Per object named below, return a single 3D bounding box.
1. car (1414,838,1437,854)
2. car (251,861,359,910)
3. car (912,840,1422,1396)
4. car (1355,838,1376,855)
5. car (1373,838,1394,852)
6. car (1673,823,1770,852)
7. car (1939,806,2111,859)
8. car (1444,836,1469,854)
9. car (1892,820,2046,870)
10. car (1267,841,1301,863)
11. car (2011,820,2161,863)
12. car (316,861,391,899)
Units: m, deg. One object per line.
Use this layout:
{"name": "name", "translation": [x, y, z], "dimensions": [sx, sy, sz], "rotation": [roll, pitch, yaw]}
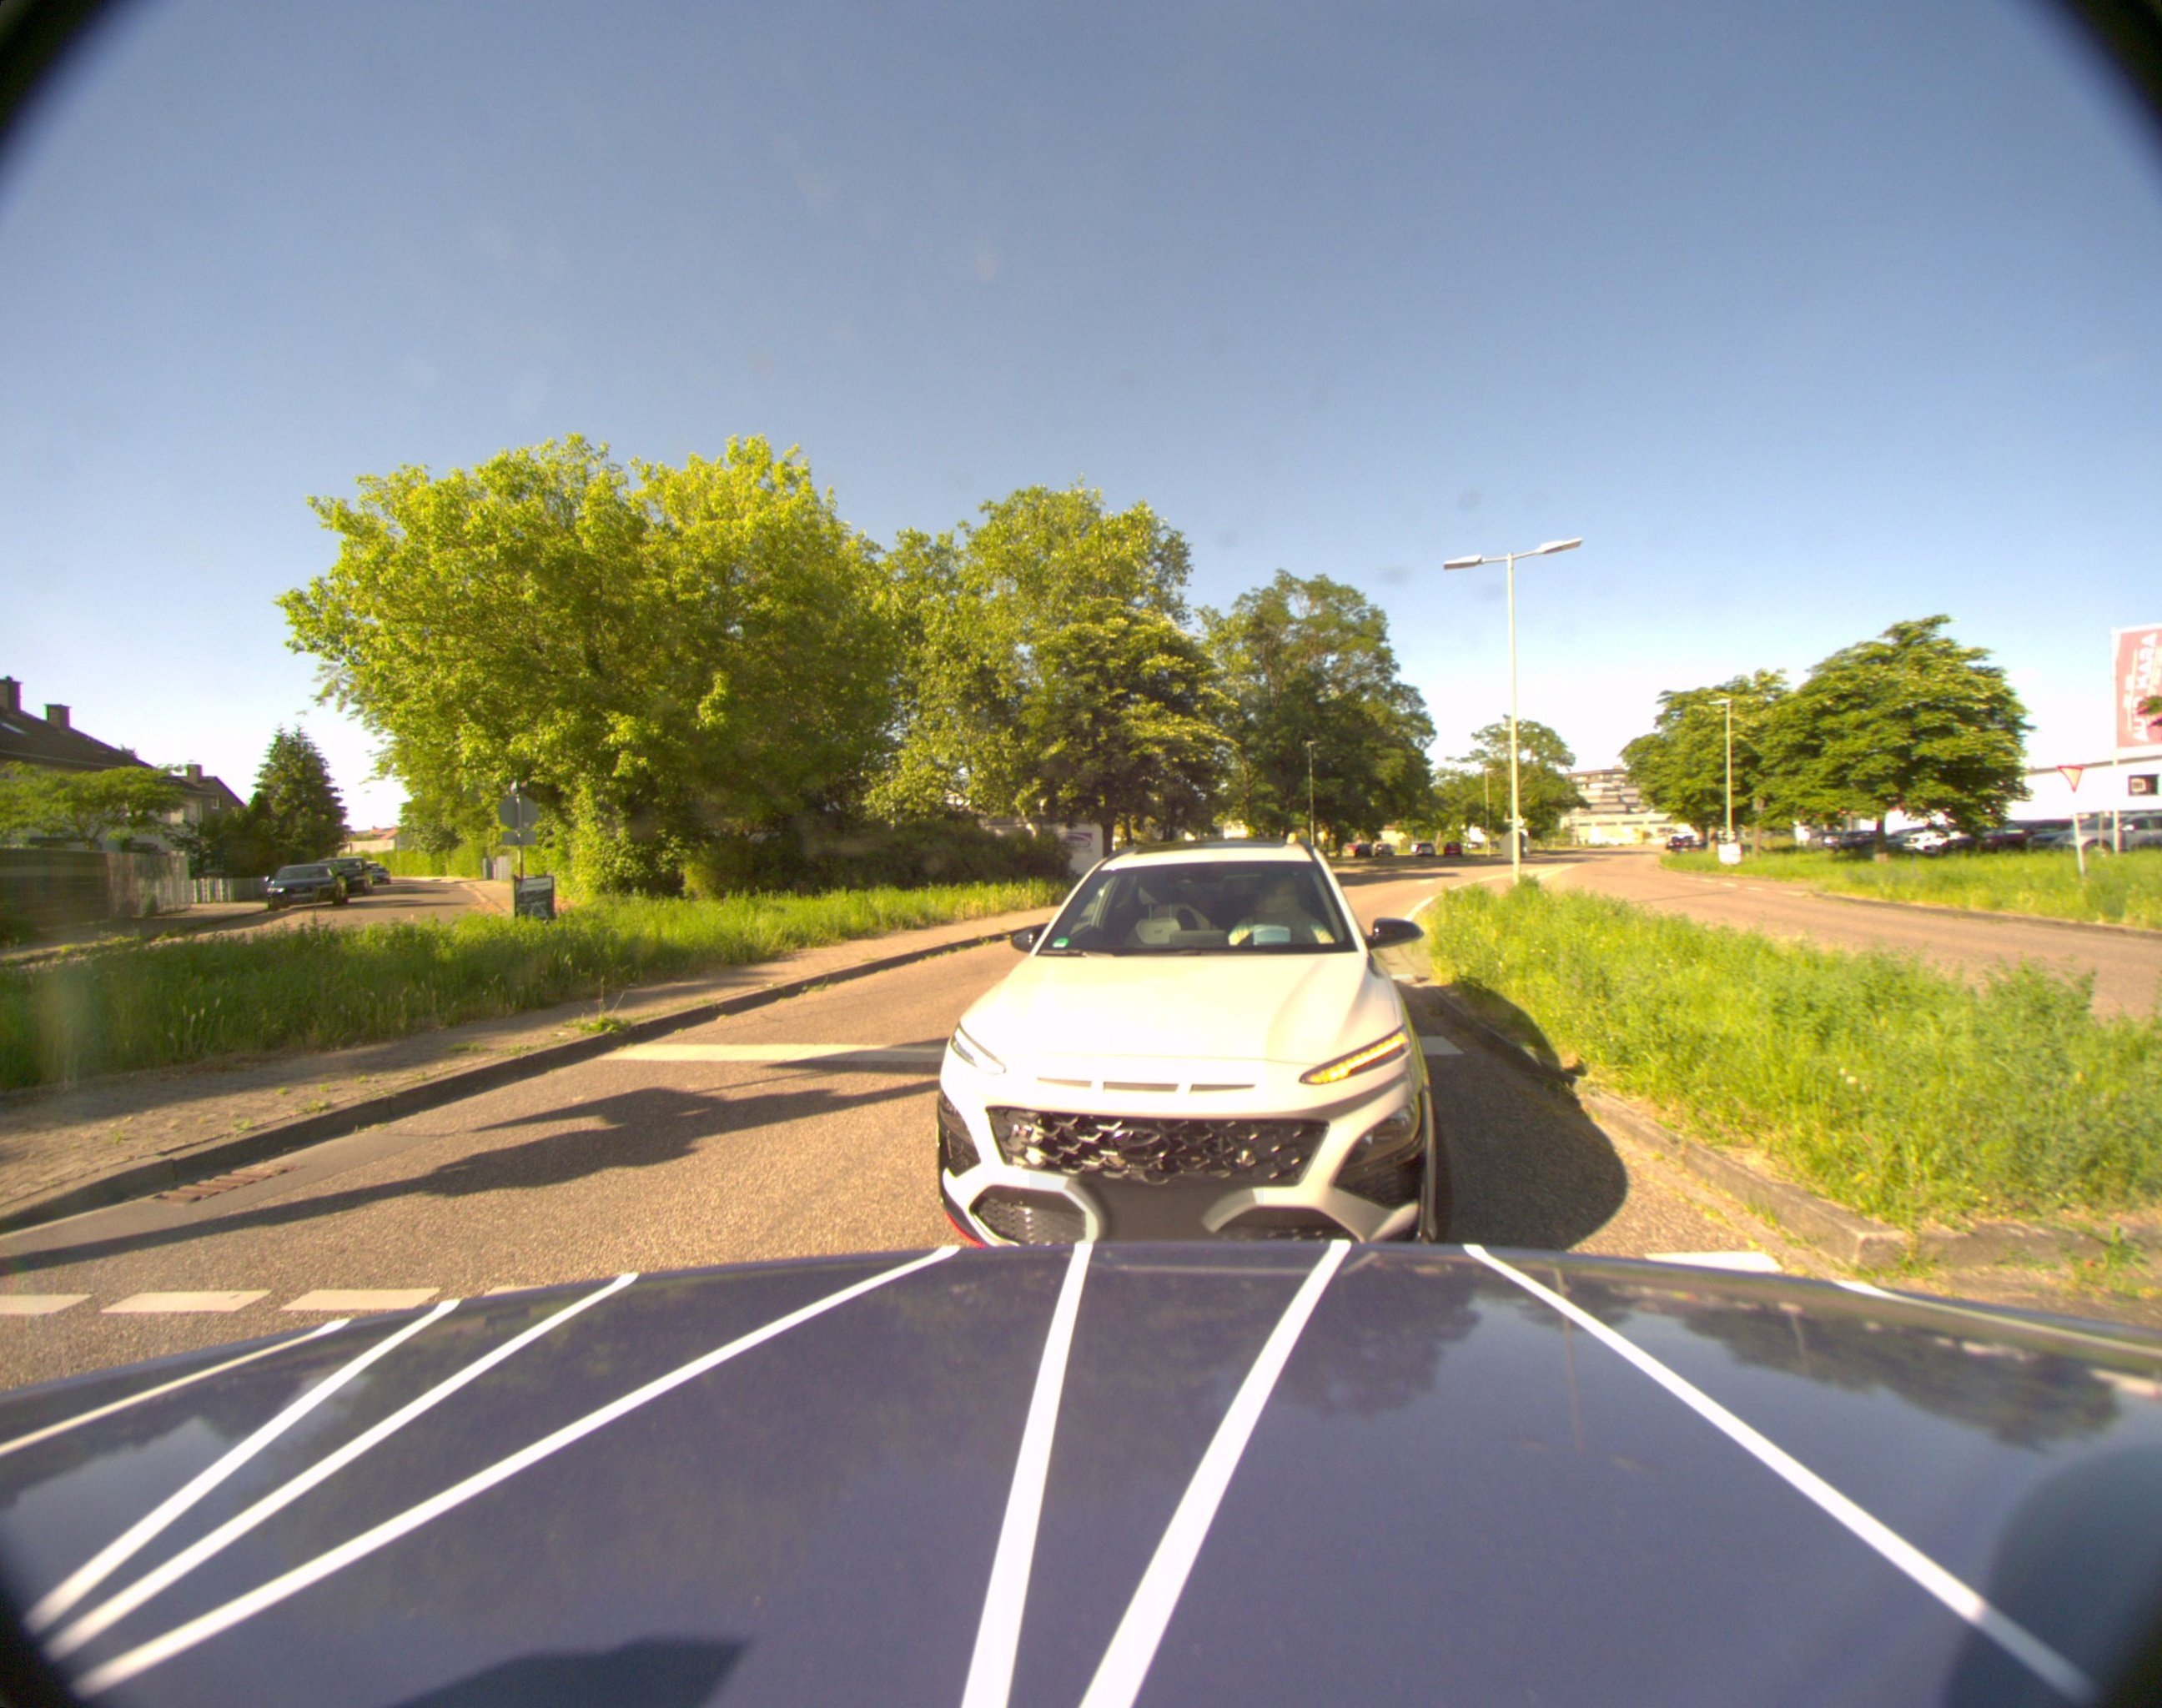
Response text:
{"name": "car", "translation": [33.869, -0.825, 74.681], "dimensions": [1.995, 1.442, 4.006], "rotation": [1, 2, 24]}
{"name": "car", "translation": [-28.065, 1.083, 27.623], "dimensions": [2.003, 1.547, 3.989], "rotation": [-3, 1, -36]}
{"name": "car", "translation": [0.820, 0.794, 4.509], "dimensions": [1.712, 1.636, 4.059], "rotation": [-1, 2, 17]}
{"name": "car", "translation": [28.548, -0.774, 76.165], "dimensions": [1.733, 1.610, 4.006], "rotation": [1, 2, 24]}
{"name": "car", "translation": [32.345, -0.983, 81.208], "dimensions": [1.868, 1.432, 3.488], "rotation": [1, 2, 24]}
{"name": "car", "translation": [37.310, -0.936, 44.405], "dimensions": [3.990, 1.521, 1.932], "rotation": [-1, 1, 27]}
{"name": "car", "translation": [38.228, -0.846, 30.908], "dimensions": [3.993, 2.002, 2.002], "rotation": [-1, 1, 14]}
{"name": "car", "translation": [36.261, -0.875, 73.414], "dimensions": [1.995, 1.657, 4.006], "rotation": [1, 2, 24]}
{"name": "car", "translation": [39.056, -0.393, 33.546], "dimensions": [3.993, 2.002, 2.002], "rotation": [-2, 1, 13]}
{"name": "car", "translation": [17.799, -0.224, 66.607], "dimensions": [2.005, 1.785, 4.006], "rotation": [-2, 1, 28]}
{"name": "car", "translation": [37.587, -0.474, 27.992], "dimensions": [3.994, 1.400, 1.840], "rotation": [-2, 1, 9]}
{"name": "car", "translation": [-35.323, 1.220, 37.005], "dimensions": [1.966, 1.657, 3.989], "rotation": [-4, 2, -36]}
